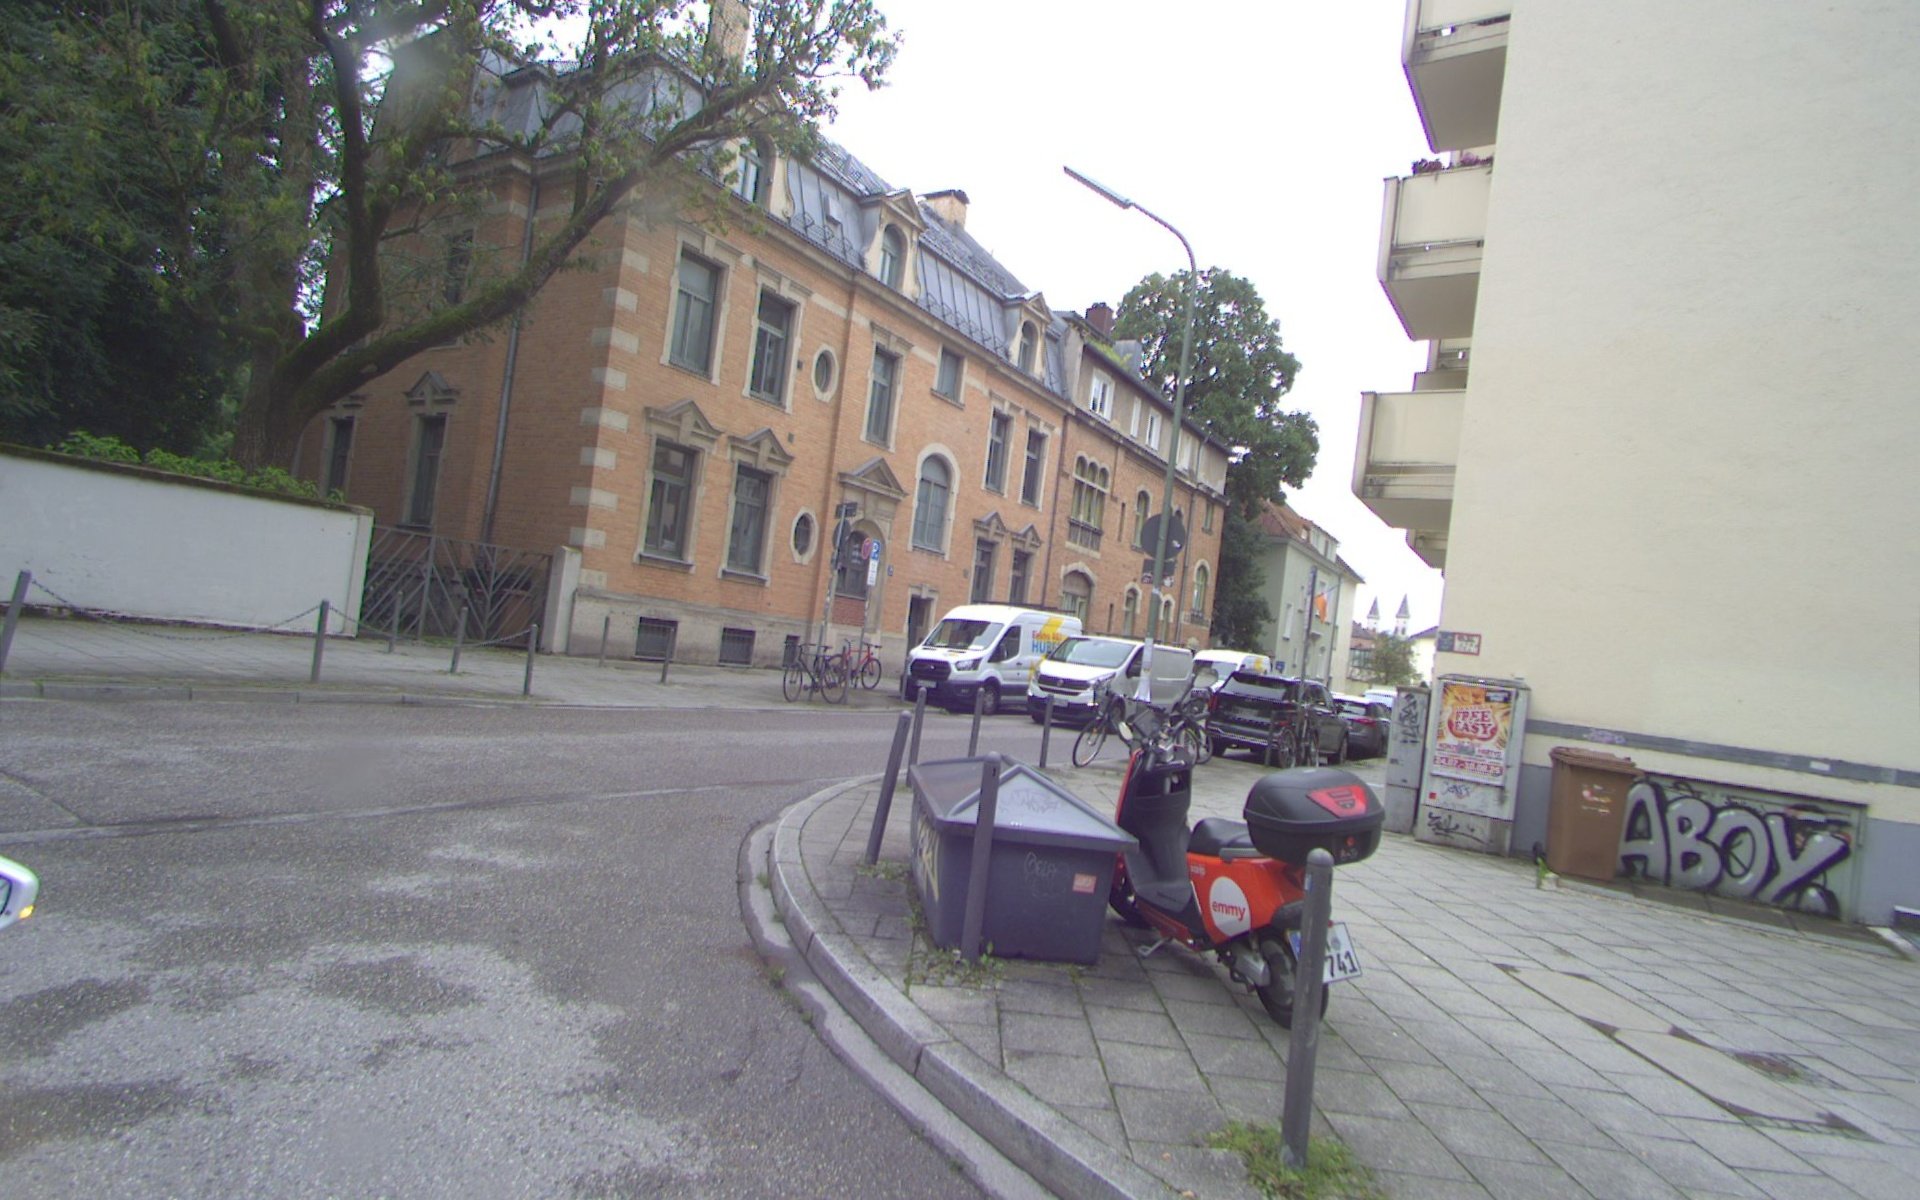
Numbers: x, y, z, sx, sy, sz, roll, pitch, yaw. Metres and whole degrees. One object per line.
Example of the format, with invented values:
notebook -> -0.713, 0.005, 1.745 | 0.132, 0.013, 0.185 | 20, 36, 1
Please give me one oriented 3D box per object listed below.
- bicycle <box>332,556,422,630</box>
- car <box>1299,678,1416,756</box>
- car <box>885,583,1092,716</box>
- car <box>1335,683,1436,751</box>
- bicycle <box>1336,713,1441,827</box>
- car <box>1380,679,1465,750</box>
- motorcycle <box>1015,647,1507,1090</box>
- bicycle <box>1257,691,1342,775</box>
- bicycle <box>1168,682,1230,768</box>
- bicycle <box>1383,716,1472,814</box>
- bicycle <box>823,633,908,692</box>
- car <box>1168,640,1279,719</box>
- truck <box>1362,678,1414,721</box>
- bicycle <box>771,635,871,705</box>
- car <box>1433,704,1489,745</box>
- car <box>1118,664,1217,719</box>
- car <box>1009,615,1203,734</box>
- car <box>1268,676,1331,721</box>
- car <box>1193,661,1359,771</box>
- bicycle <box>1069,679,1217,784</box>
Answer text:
bicycle -> -11.308, -0.149, 19.492 | 2.049, 1.233, 0.535 | 6, -2, 34
car -> 9.808, 2.861, 24.610 | 1.705, 1.476, 4.410 | 8, -2, 33
car -> 0.829, 1.237, 22.907 | 1.967, 2.495, 5.463 | 4, -4, 33
car -> 12.351, 3.389, 29.013 | 1.835, 1.568, 4.748 | 6, -3, 32
bicycle -> 4.712, 1.835, 10.995 | 0.573, 1.066, 1.758 | 6, -3, 37
car -> 15.575, 3.857, 33.723 | 1.845, 1.989, 4.811 | 6, -3, 32
motorcycle -> 1.139, 0.981, 4.433 | 0.807, 1.371, 2.075 | 8, -3, -23
bicycle -> 5.339, 2.088, 15.761 | 0.573, 1.167, 1.958 | 6, -3, 37
bicycle -> 3.702, 1.891, 15.461 | 0.571, 1.167, 1.965 | 6, -3, 21
bicycle -> 5.887, 2.054, 12.616 | 0.573, 1.066, 1.758 | 6, -3, 37
bicycle -> -1.994, 1.355, 21.505 | 0.572, 1.066, 1.890 | 7, -2, 37
car -> 9.707, 2.969, 36.709 | 2.110, 2.375, 5.362 | 6, -3, 33
truck -> 27.937, 6.530, 65.585 | 1.968, 2.344, 5.401 | 6, -3, 34
bicycle -> -2.432, 1.255, 17.796 | 0.573, 1.066, 1.758 | 6, -3, 37
car -> 21.191, 5.276, 42.499 | 1.588, 1.449, 3.614 | 6, -3, 33
car -> 6.719, 2.968, 32.335 | 1.677, 1.447, 3.823 | 5, -4, 34
car -> 3.281, 1.664, 21.613 | 2.014, 2.065, 4.948 | 7, -2, 34
car -> 15.819, 4.609, 46.741 | 1.796, 1.730, 3.996 | 7, -3, 31
car -> 6.224, 2.248, 19.424 | 1.826, 1.657, 4.544 | 6, -3, 33
bicycle -> 2.363, 1.673, 13.028 | 1.729, 1.078, 0.777 | 7, -2, 11
